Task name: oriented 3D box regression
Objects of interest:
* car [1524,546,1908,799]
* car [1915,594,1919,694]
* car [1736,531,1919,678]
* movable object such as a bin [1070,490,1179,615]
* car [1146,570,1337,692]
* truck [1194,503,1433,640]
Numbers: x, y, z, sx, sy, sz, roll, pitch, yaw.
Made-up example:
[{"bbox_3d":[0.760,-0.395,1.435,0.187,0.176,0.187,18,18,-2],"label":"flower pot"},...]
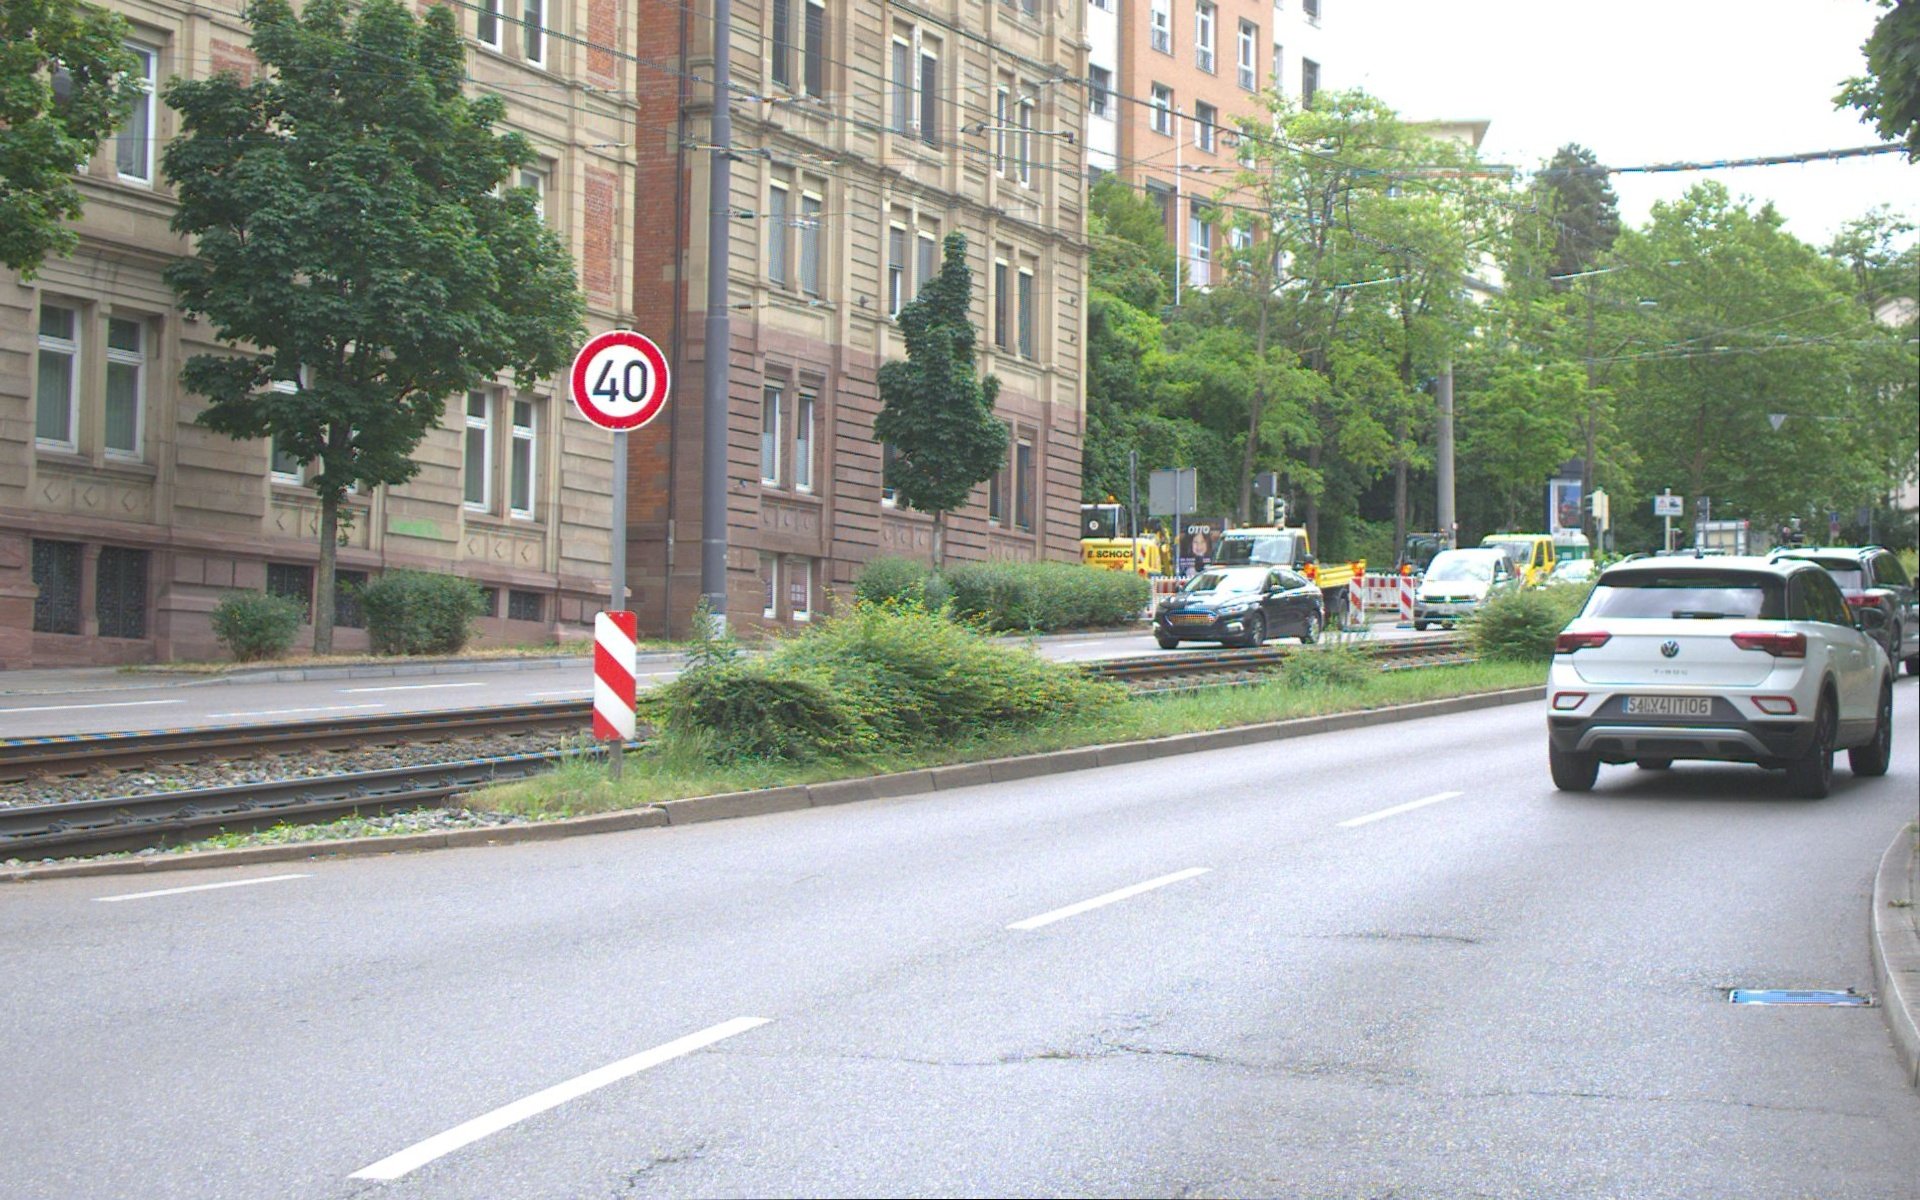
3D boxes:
[{"bbox_3d":[5.240,0.456,23.436,1.940,1.561,4.041,0,0,21],"label":"car"},{"bbox_3d":[11.842,0.323,38.837,1.904,1.568,3.831,3,-1,16],"label":"car"},{"bbox_3d":[11.142,0.054,43.439,1.842,1.734,3.995,2,0,24],"label":"car"},{"bbox_3d":[3.768,-1.071,78.583,1.995,2.828,2.028,0,0,19],"label":"movable object such as a bin"},{"bbox_3d":[5.106,0.586,61.718,1.821,1.446,4.938,2,-8,24],"label":"car"},{"bbox_3d":[7.875,-0.569,75.721,2.921,2.501,7.144,6,1,24],"label":"truck"}]
